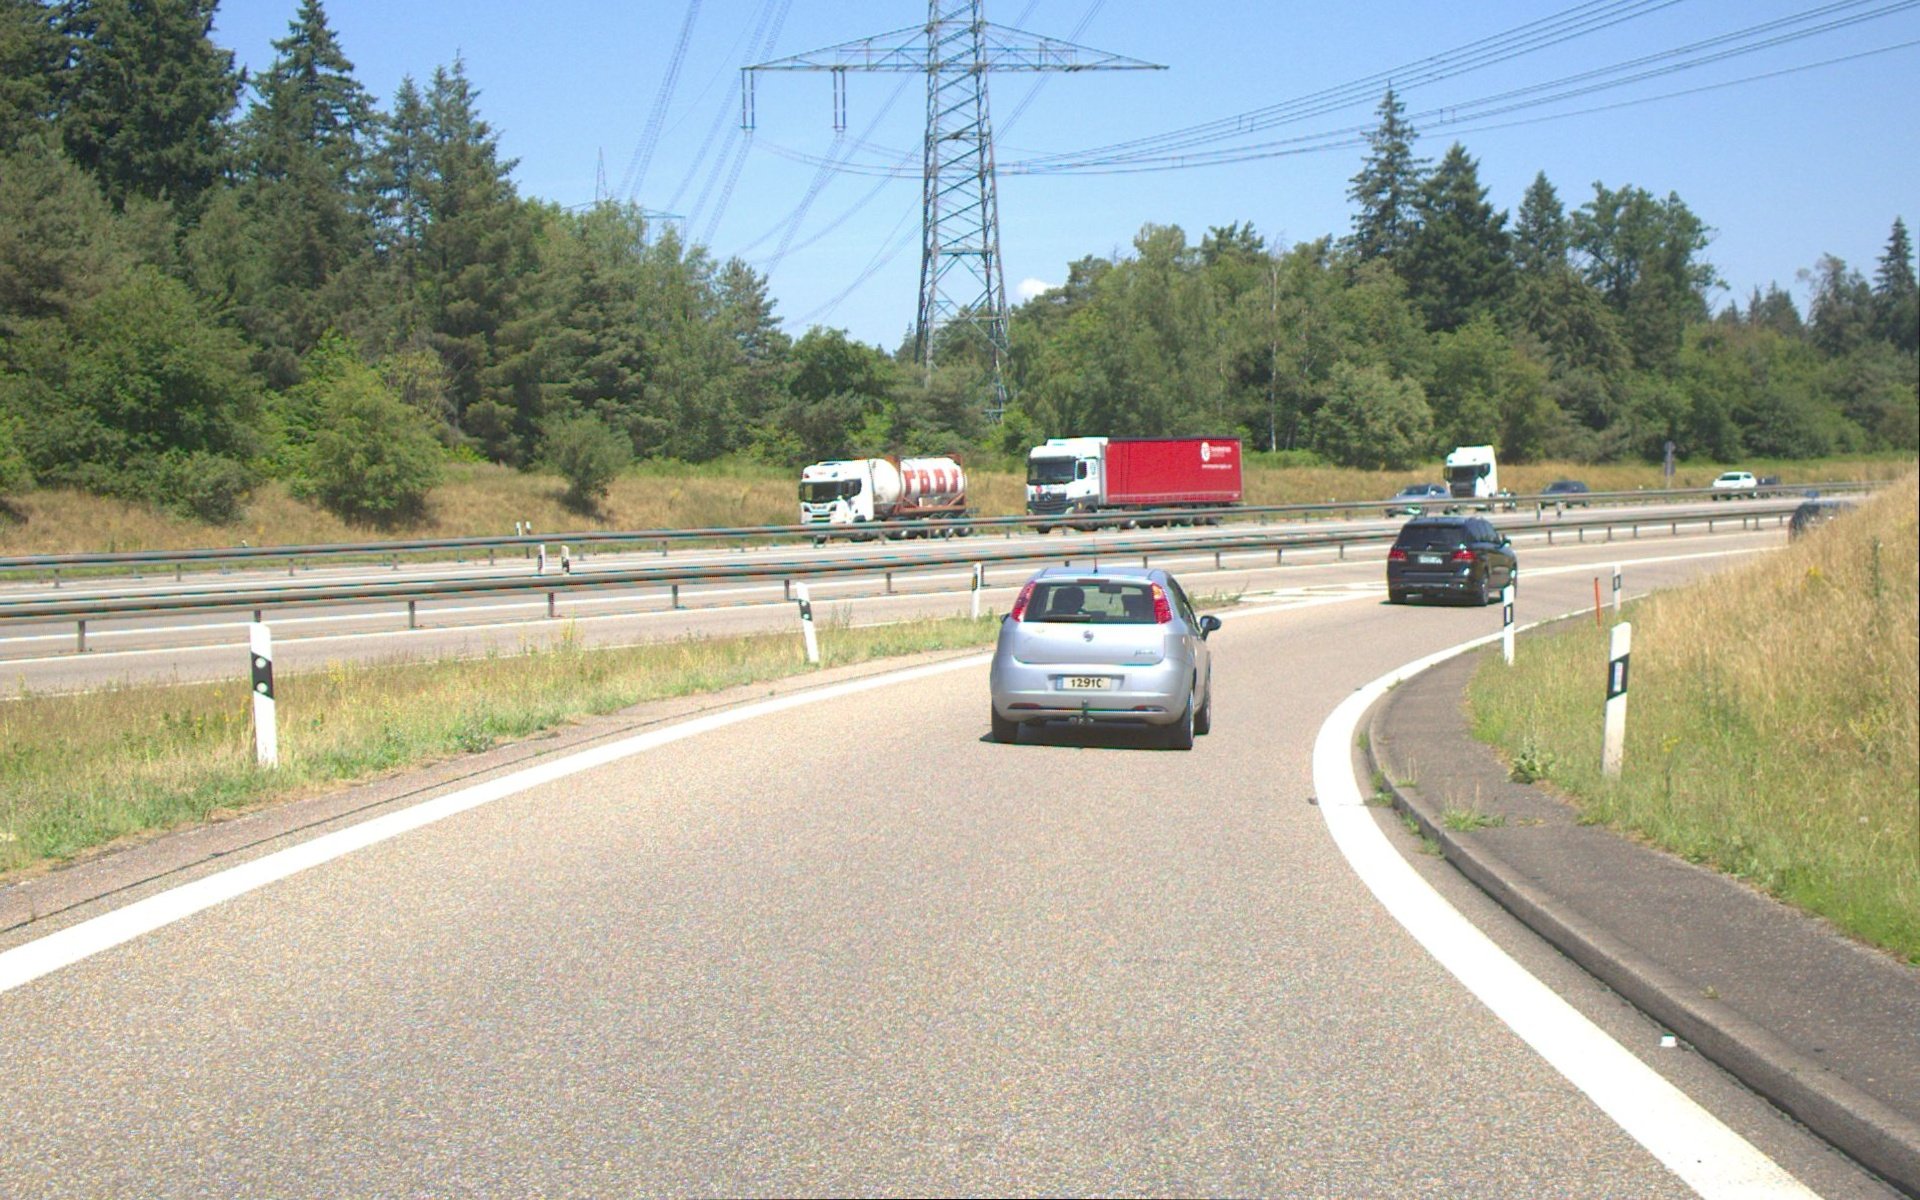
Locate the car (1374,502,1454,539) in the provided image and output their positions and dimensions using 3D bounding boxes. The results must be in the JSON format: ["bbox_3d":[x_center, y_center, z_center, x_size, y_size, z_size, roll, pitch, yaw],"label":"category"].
[{"bbox_3d":[21.036,-3.658,159.138,1.775,1.678,4.816,1,1,33],"label":"car"}]

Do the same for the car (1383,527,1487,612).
[{"bbox_3d":[9.576,-0.630,69.215,1.707,1.670,3.395,0,1,14],"label":"car"}]

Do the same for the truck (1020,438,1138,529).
[{"bbox_3d":[5.131,-5.029,147.444,2.546,3.784,5.659,1,3,31],"label":"truck"}]

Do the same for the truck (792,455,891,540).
[{"bbox_3d":[-5.441,-4.736,158.645,2.772,3.784,3.993,1,3,31],"label":"truck"}]

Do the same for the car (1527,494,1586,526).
[{"bbox_3d":[31.755,-4.797,182.875,1.775,1.678,3.683,1,1,33],"label":"car"}]

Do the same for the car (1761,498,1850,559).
[{"bbox_3d":[25.532,-2.160,103.742,1.884,1.678,3.995,-2,1,23],"label":"car"}]

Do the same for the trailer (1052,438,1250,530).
[{"bbox_3d":[8.661,-5.233,153.230,2.546,3.784,13.718,1,3,31],"label":"trailer"}]

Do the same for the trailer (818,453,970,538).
[{"bbox_3d":[-3.037,-4.977,162.562,2.777,3.784,8.922,1,3,31],"label":"trailer"}]

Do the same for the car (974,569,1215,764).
[{"bbox_3d":[1.192,0.516,29.137,1.707,1.476,3.397,2,1,7],"label":"car"}]
